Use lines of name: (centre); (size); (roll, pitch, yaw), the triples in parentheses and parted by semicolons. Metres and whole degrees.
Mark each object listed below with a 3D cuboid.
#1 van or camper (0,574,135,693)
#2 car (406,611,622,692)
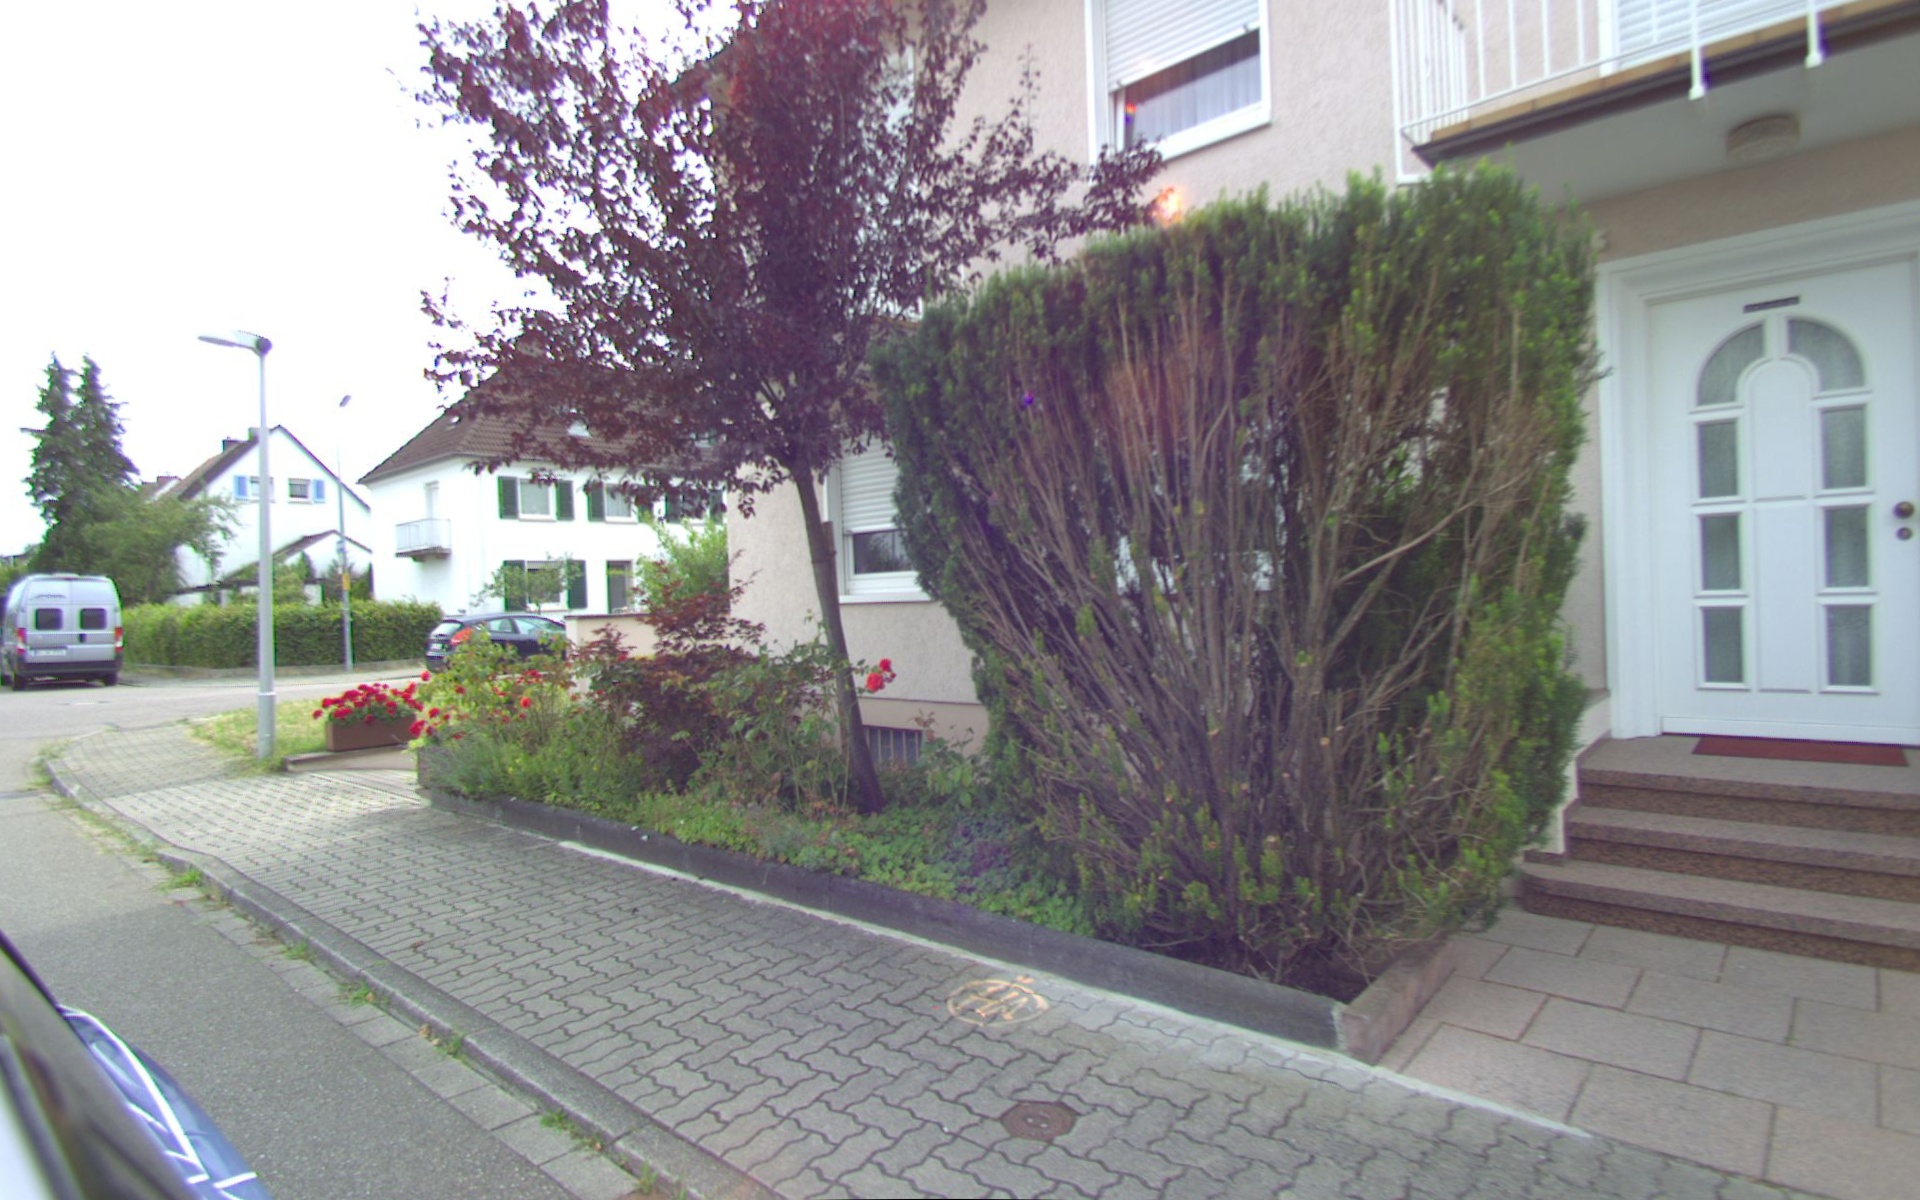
van or camper: (-23.515, 0.841, 26.352); (5.747, 2.755, 2.315); (-2, 0, 43)
car: (-9.448, 1.031, 21.644); (1.721, 1.452, 3.832); (-2, 0, 41)
